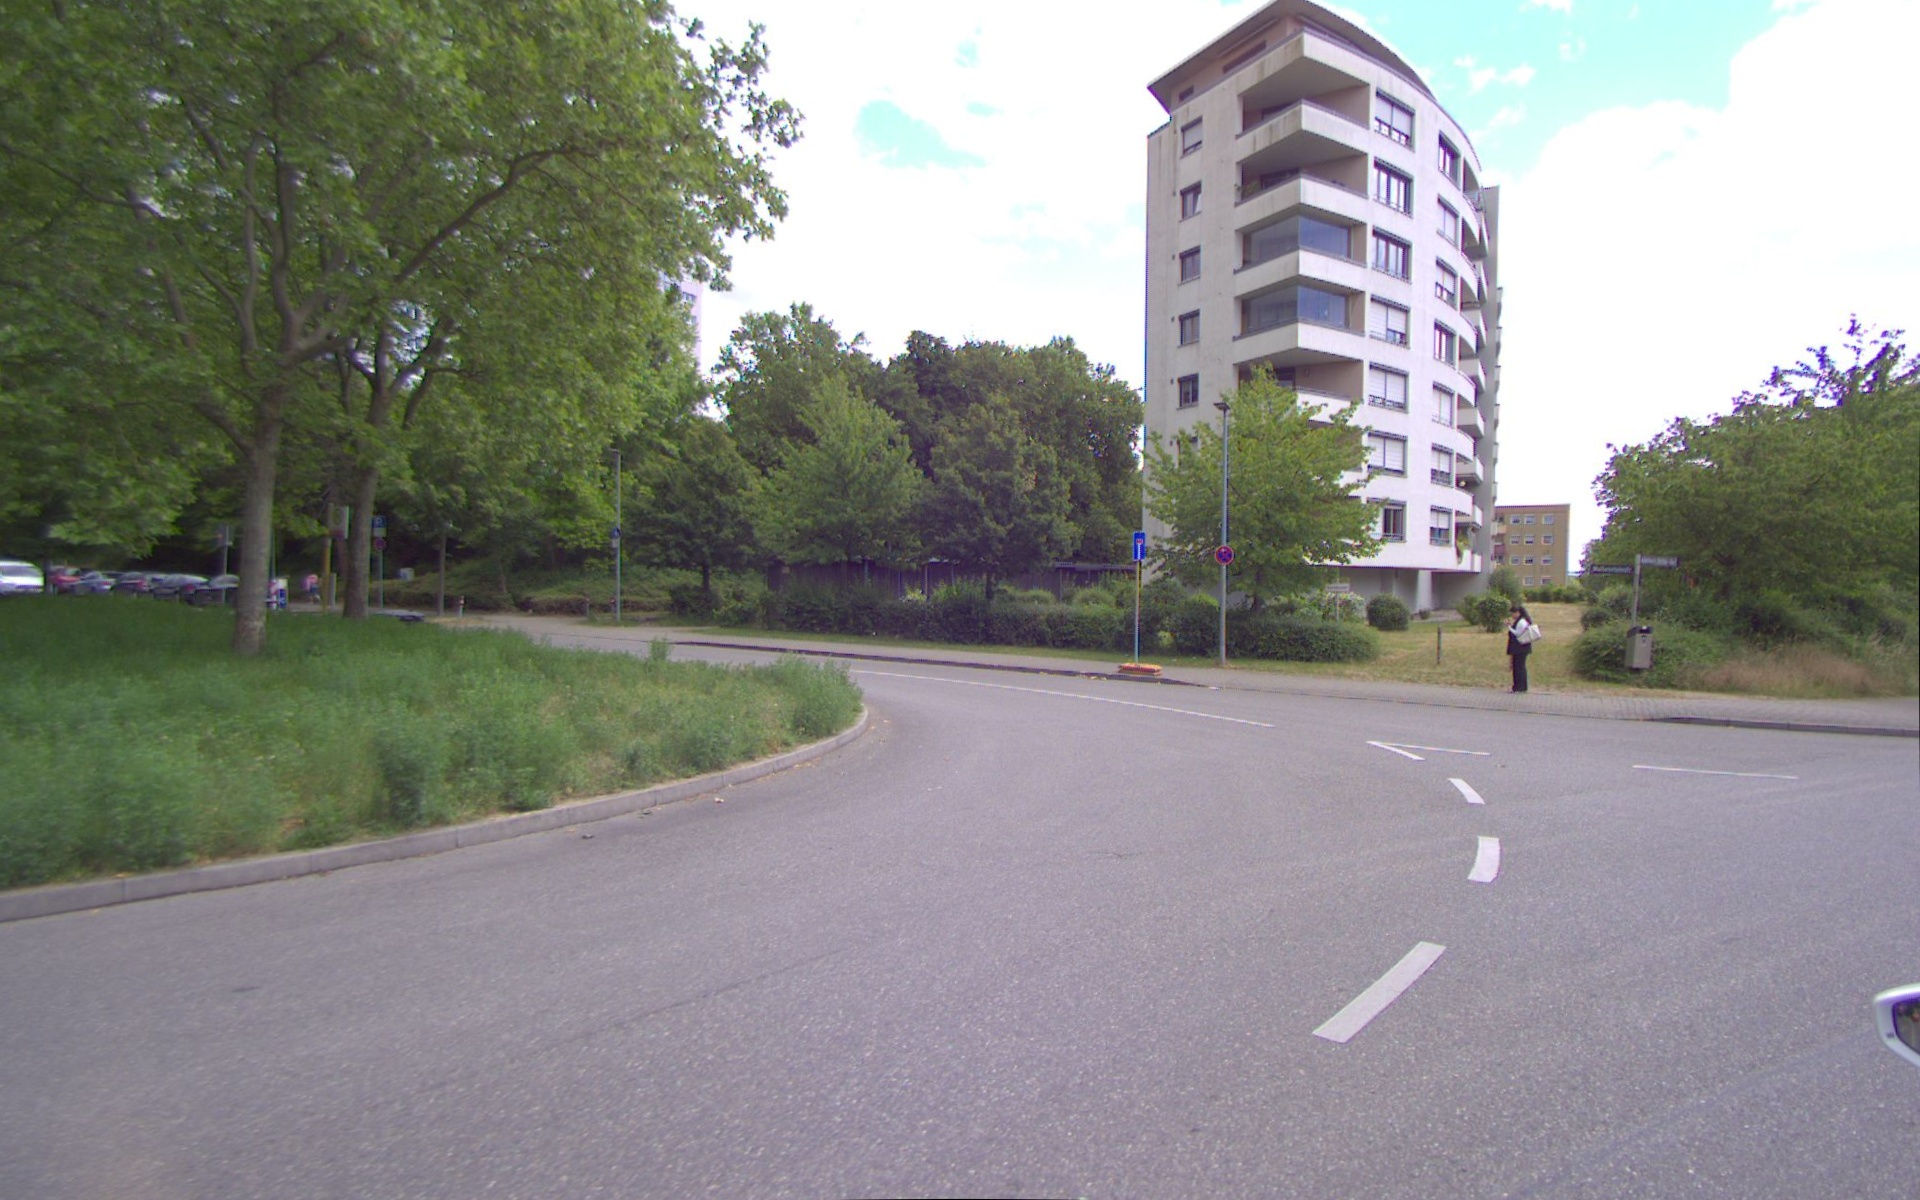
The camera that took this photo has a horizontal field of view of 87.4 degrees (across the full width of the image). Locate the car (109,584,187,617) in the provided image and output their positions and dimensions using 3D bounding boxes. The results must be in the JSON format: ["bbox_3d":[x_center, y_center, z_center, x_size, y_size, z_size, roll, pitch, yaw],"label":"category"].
[{"bbox_3d":[-39.336,0.016,48.661,3.610,1.506,1.778,2,0,31],"label":"car"}]

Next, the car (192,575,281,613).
[{"bbox_3d":[-30.938,-0.275,42.919,3.610,1.506,1.778,2,0,31],"label":"car"}]

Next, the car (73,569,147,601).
[{"bbox_3d":[-43.265,-0.775,51.135,3.610,1.506,1.778,2,0,31],"label":"car"}]

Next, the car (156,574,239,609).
[{"bbox_3d":[-35.049,-0.407,46.156,3.610,1.506,1.778,2,0,31],"label":"car"}]

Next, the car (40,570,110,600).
[{"bbox_3d":[-47.435,-0.809,53.830,3.610,1.506,1.778,2,0,31],"label":"car"}]

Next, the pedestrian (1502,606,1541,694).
[{"bbox_3d":[10.819,0.936,19.361,0.623,1.633,0.718,1,2,30],"label":"pedestrian"}]

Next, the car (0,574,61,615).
[{"bbox_3d":[-43.542,-0.280,46.485,3.929,1.795,1.778,2,0,31],"label":"car"}]
